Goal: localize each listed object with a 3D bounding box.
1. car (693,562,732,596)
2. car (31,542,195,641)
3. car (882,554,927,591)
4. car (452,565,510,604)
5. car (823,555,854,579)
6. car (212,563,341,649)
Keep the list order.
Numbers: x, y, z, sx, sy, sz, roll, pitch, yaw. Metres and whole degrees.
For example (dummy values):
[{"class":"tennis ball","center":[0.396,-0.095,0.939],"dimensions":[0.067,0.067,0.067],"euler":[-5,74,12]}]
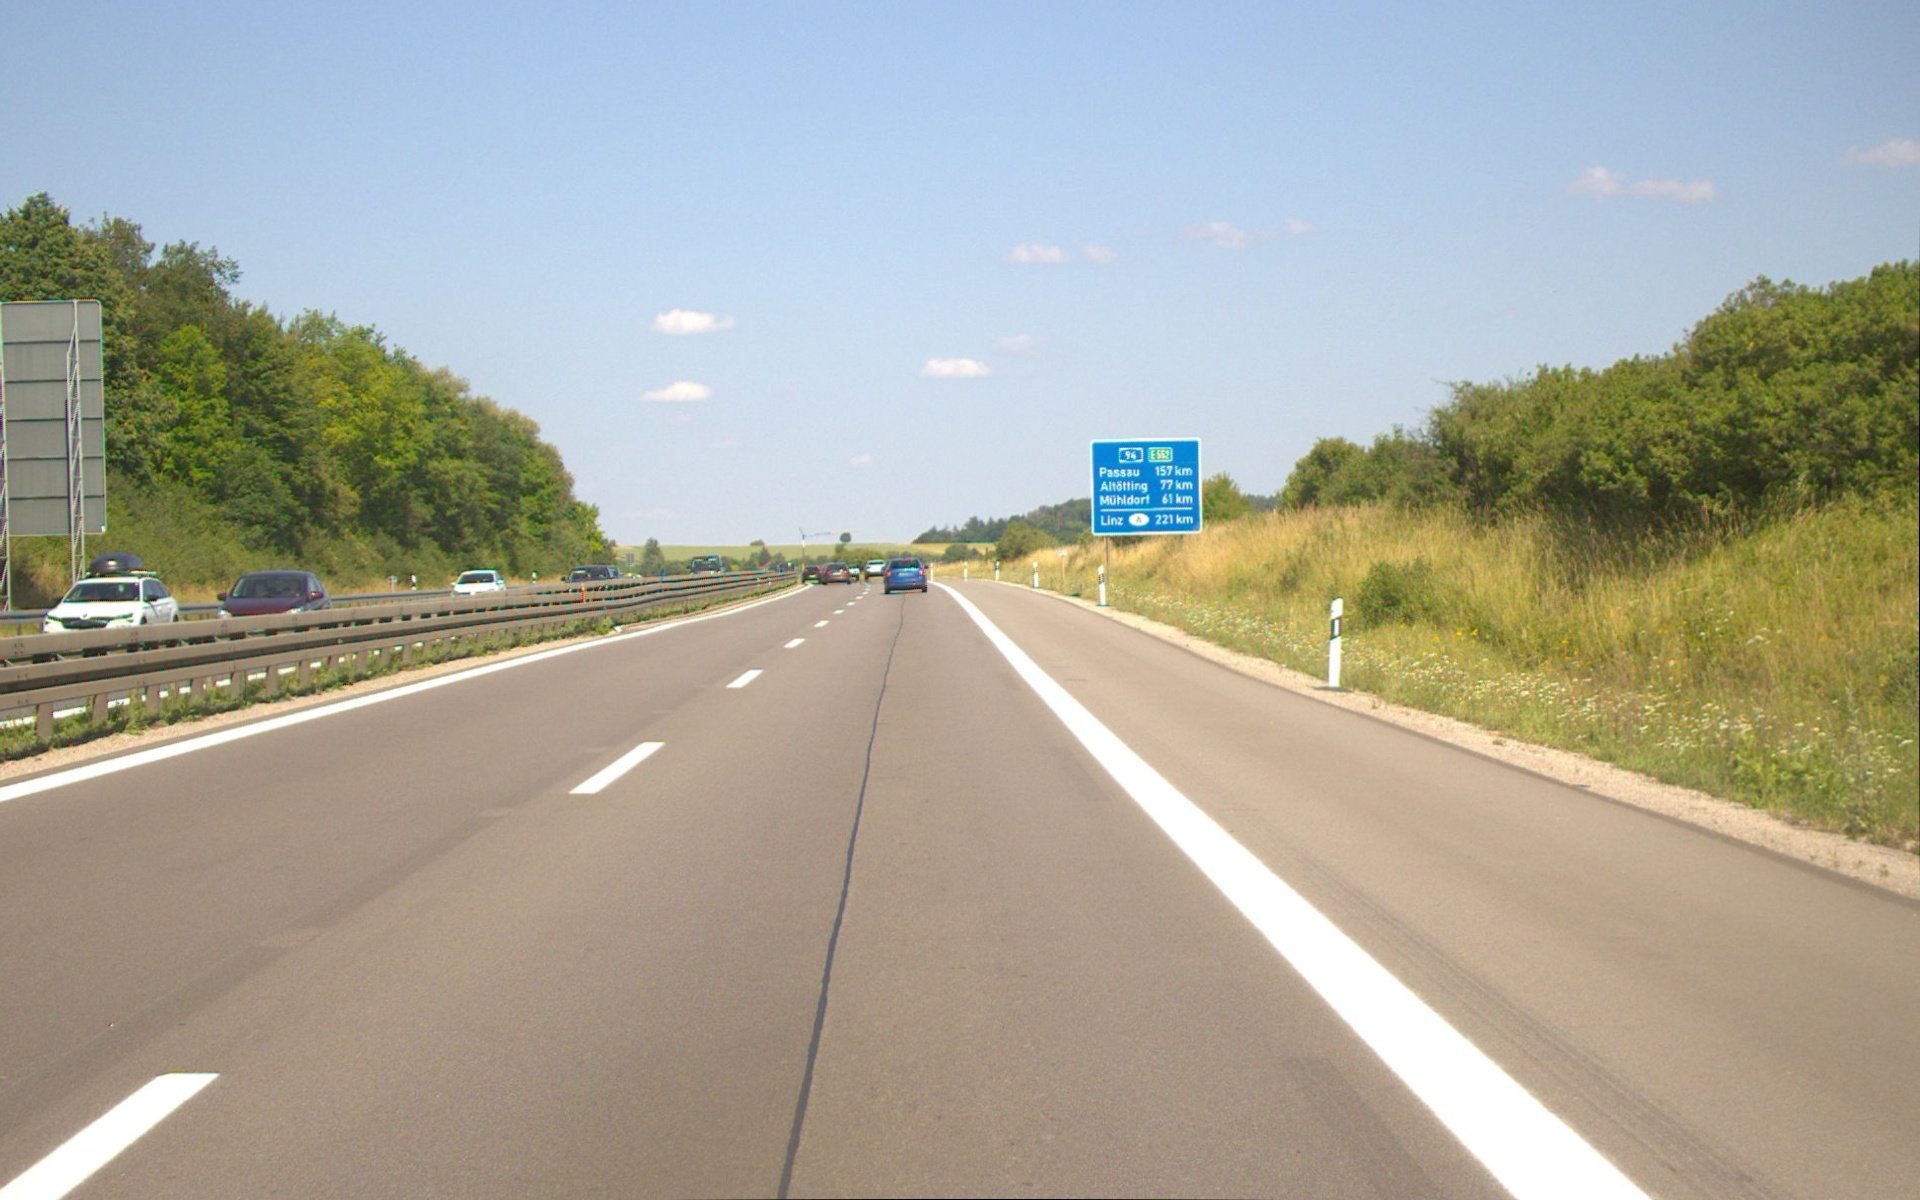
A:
[{"class":"car","center":[-14.809,-1.260,206.052],"dimensions":[1.993,1.966,5.039],"euler":[-1,1,-1]},{"class":"car","center":[-16.395,-0.186,66.780],"dimensions":[1.945,1.839,5.184],"euler":[0,1,-1]},{"class":"car","center":[-2.270,-1.114,140.556],"dimensions":[1.676,1.448,3.592],"euler":[-2,0,1]},{"class":"car","center":[-17.267,-0.570,124.081],"dimensions":[1.522,1.348,4.232],"euler":[-1,1,-1]},{"class":"car","center":[-7.858,-2.125,222.240],"dimensions":[1.829,1.448,3.592],"euler":[-2,0,0]},{"class":"car","center":[-12.595,0.085,63.545],"dimensions":[1.616,1.526,4.000],"euler":[0,1,-1]}]
